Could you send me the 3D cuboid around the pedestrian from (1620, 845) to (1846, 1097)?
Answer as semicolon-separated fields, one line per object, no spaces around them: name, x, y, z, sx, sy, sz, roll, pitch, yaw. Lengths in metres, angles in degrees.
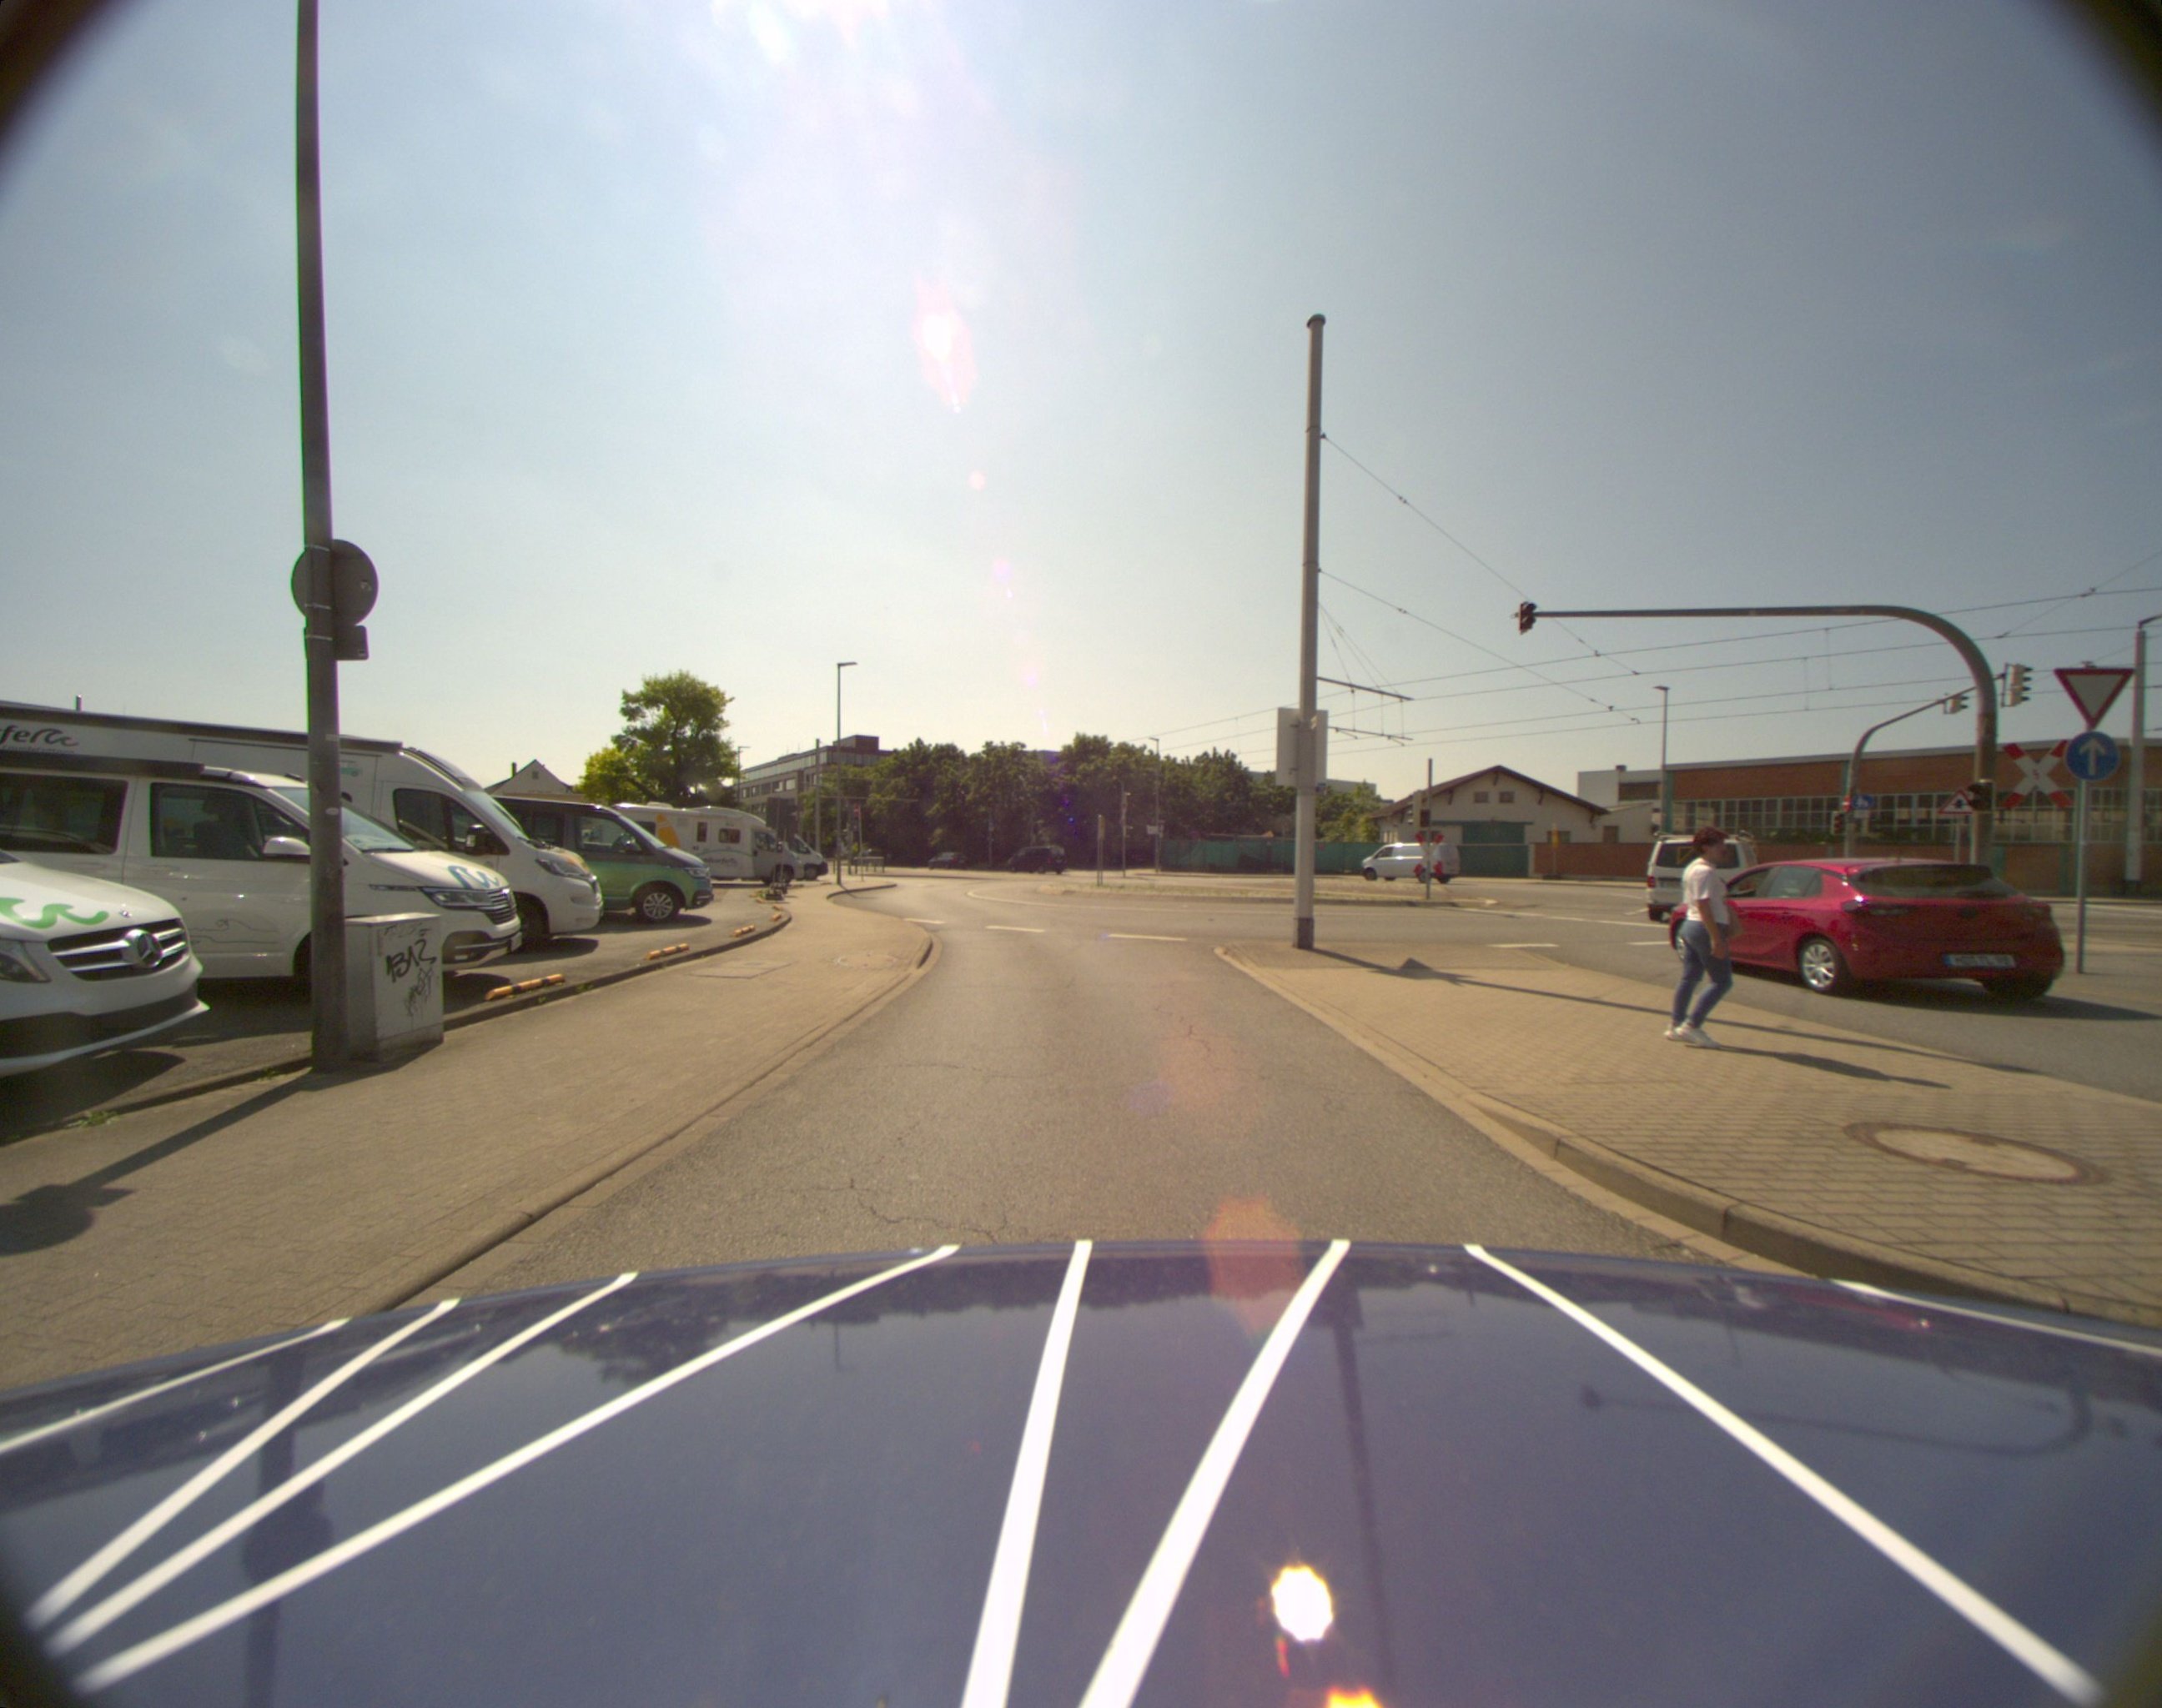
pedestrian;4.718;0.778;5.591;0.995;1.676;0.800;1;1;17

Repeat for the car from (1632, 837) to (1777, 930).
car;14.836;0.609;17.990;4.446;1.935;1.991;0;1;-42

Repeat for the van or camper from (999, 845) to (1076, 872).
van or camper;-3.186;0.281;54.833;5.280;1.817;2.509;1;1;42

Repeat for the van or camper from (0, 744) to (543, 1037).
van or camper;-7.980;0.246;6.525;5.147;2.064;2.446;0;1;-26

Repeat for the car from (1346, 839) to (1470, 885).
car;16.448;0.326;38.543;2.216;2.121;5.518;-1;1;-31

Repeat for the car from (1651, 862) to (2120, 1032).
car;8.739;0.870;8.895;1.765;1.446;4.113;-2;0;13

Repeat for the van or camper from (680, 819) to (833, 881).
van or camper;-14.831;-0.166;34.884;6.070;2.629;2.778;0;1;-33

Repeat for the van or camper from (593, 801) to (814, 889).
van or camper;-13.804;-0.285;28.062;6.862;2.868;2.778;0;1;-38

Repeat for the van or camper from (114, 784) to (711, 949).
van or camper;-9.980;0.173;12.561;6.859;2.122;2.779;0;1;-28

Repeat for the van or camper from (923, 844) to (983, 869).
van or camper;-10.851;0.180;64.207;2.509;2.002;5.221;0;1;-45

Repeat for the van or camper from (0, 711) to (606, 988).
van or camper;-9.484;-0.044;9.053;6.374;2.621;2.527;0;1;-30

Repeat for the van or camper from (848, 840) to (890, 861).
van or camper;-21.632;-0.356;77.467;2.509;2.002;5.222;0;1;-36

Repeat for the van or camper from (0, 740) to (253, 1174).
van or camper;-7.724;0.423;3.424;4.989;2.034;2.037;1;1;-24
